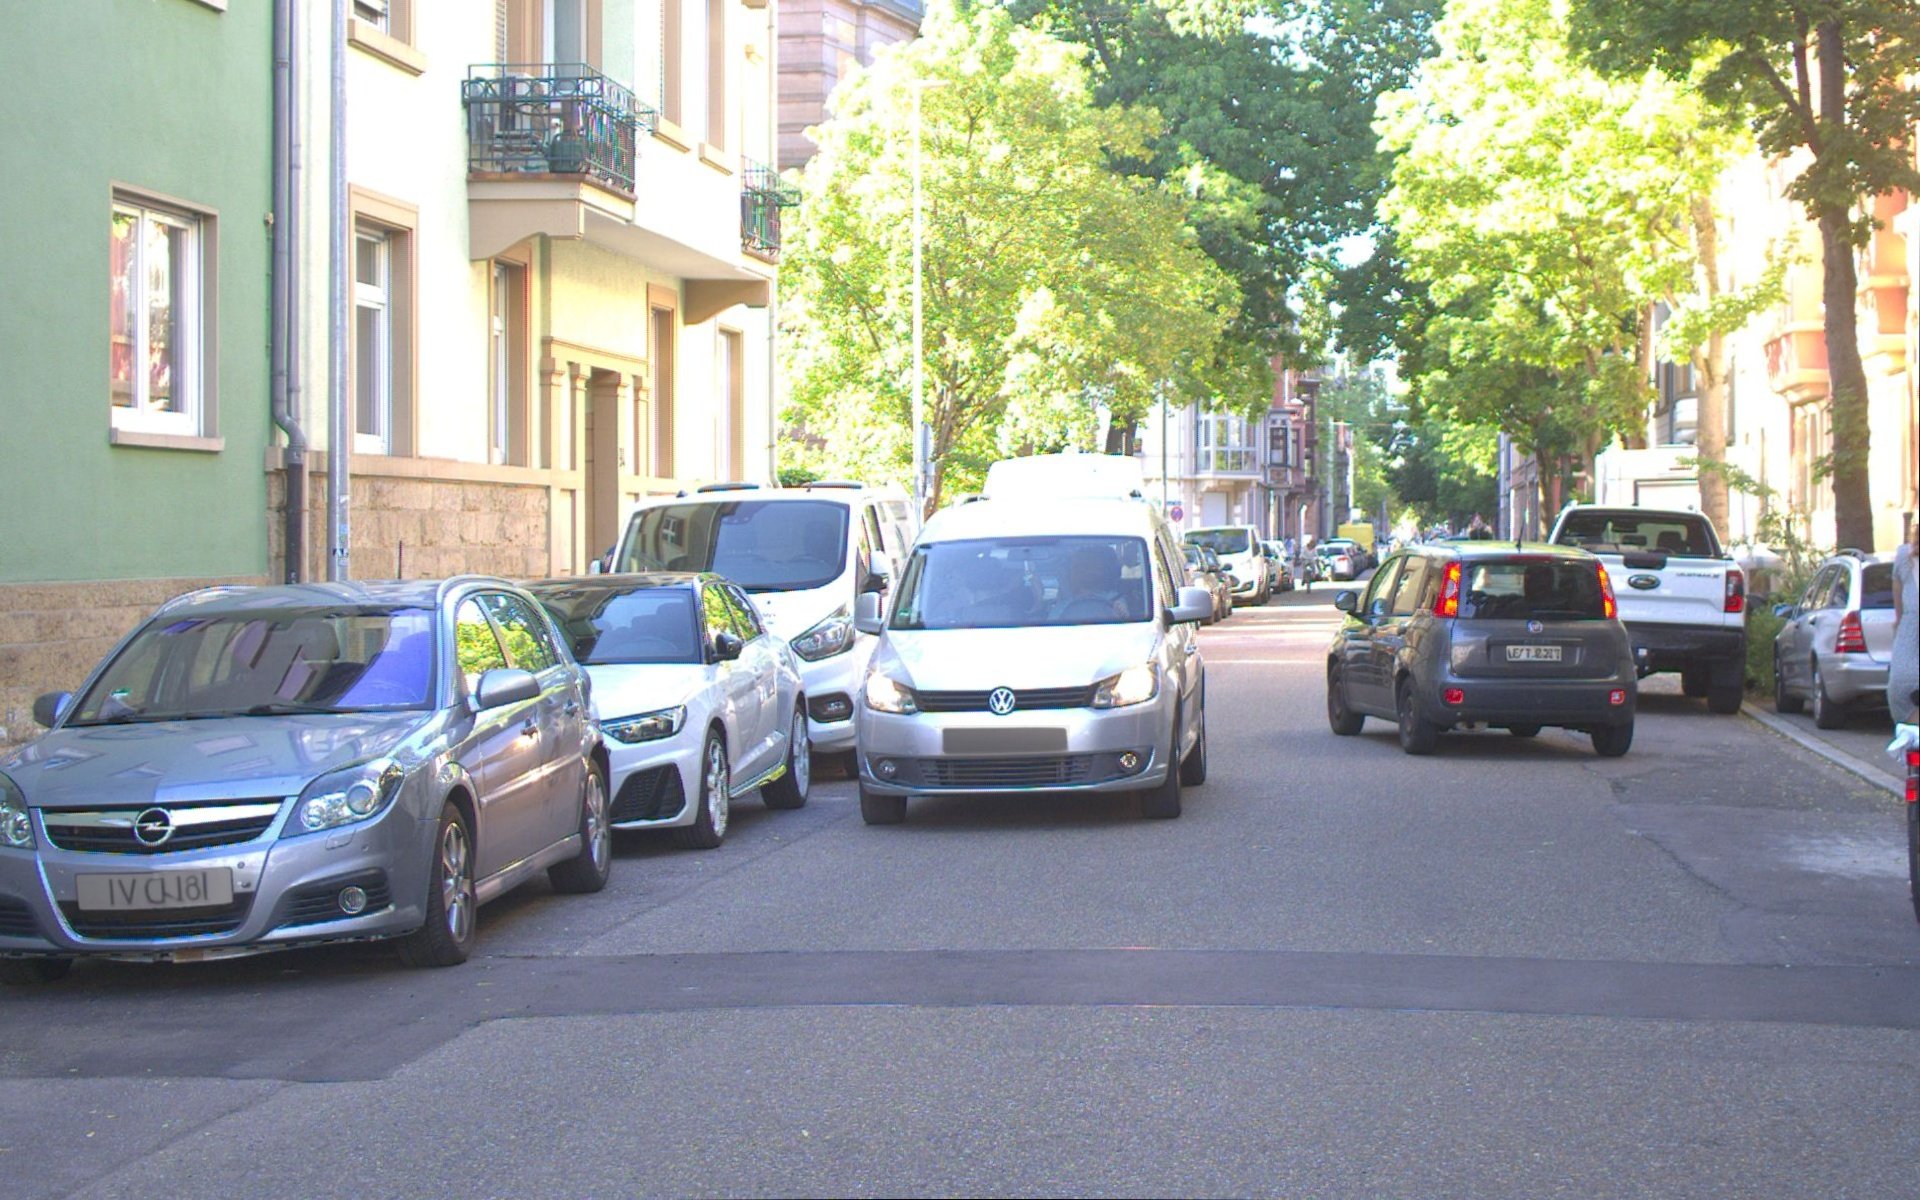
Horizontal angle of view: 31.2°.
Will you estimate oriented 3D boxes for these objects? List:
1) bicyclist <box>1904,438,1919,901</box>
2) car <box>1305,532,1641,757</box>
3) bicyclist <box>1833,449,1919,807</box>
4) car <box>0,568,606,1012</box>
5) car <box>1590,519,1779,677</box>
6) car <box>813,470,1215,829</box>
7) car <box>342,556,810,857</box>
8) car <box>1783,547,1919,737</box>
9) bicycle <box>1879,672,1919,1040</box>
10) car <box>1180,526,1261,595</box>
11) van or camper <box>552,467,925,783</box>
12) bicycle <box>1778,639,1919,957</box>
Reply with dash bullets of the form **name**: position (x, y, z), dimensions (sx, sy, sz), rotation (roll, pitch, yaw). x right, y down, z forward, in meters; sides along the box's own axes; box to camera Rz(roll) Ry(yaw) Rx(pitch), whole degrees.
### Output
- **bicyclist**: position (3.759, 0.241, 11.785), dimensions (0.883, 1.556, 0.867), rotation (-1, -2, 23)
- **car**: position (3.694, 0.270, 25.278), dimensions (1.556, 1.527, 3.487), rotation (0, 1, -7)
- **bicyclist**: position (3.840, 0.129, 13.573), dimensions (0.624, 1.376, 0.867), rotation (-1, -4, 23)
- **car**: position (-2.765, 0.637, 13.743), dimensions (1.979, 1.450, 4.113), rotation (-1, 1, 4)
- **car**: position (8.158, -0.059, 38.997), dimensions (1.687, 1.678, 3.999), rotation (-1, 1, 6)
- **car**: position (0.428, 0.234, 20.068), dimensions (1.782, 1.854, 4.198), rotation (-1, 1, 8)
- **car**: position (-1.979, 0.504, 18.774), dimensions (1.687, 1.448, 3.709), rotation (-1, 1, 8)
- **car**: position (7.755, 0.318, 28.342), dimensions (1.557, 1.404, 3.379), rotation (3, 2, 9)
- **bicycle**: position (3.768, 0.808, 11.712), dimensions (0.840, 1.145, 2.230), rotation (6, 4, 22)
- **car**: position (6.282, -0.964, 82.622), dimensions (1.711, 1.601, 3.999), rotation (0, 1, 7)
- **van or camper**: position (-1.444, 0.117, 24.456), dimensions (1.994, 2.007, 4.911), rotation (-1, 1, 4)
- **bicycle**: position (3.921, 0.748, 13.772), dimensions (0.840, 1.145, 2.230), rotation (1, 0, 24)
